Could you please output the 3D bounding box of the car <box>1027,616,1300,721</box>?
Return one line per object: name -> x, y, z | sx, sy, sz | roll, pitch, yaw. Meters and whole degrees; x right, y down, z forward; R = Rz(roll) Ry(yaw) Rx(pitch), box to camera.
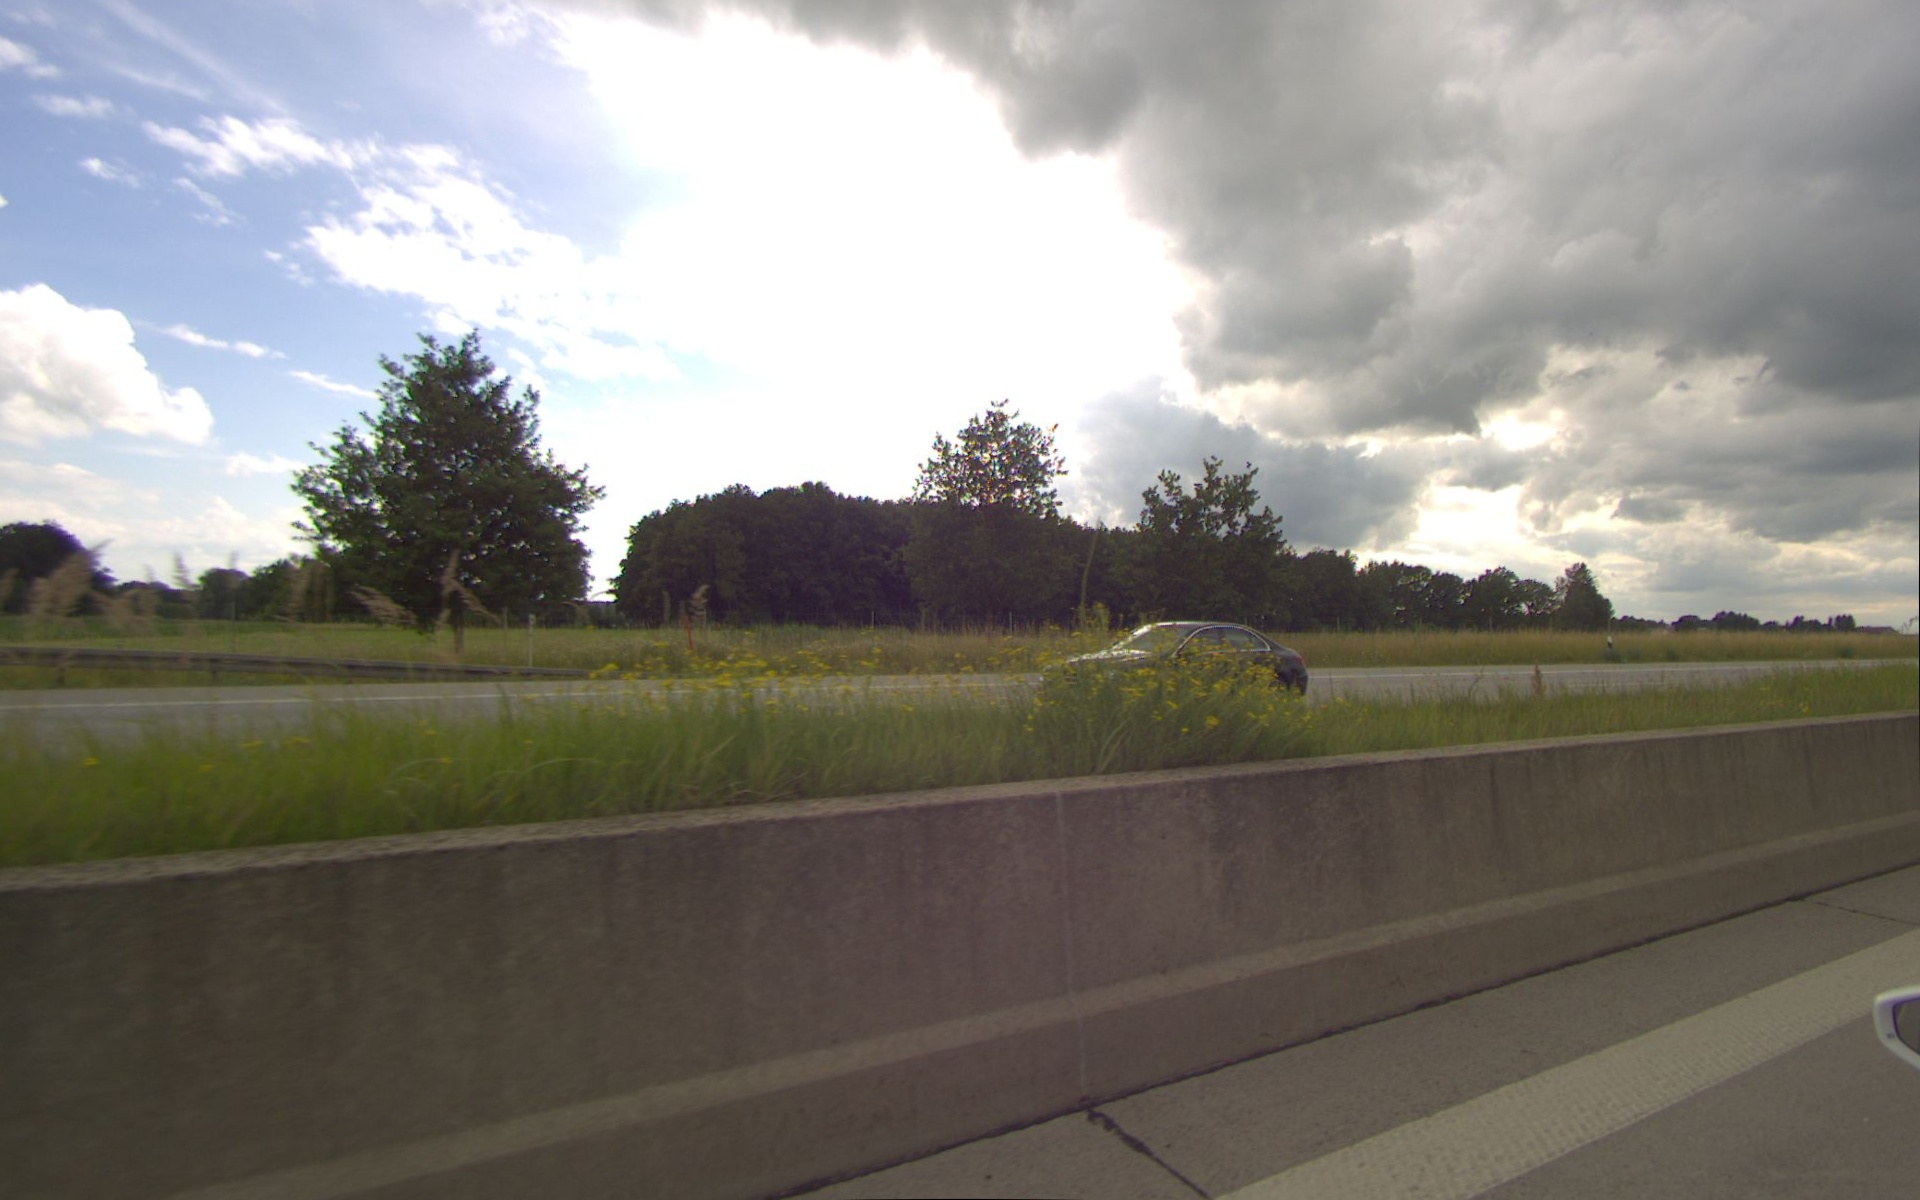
car -> 3.187, 1.015, 15.502 | 4.050, 1.391, 1.634 | 2, 0, -30
